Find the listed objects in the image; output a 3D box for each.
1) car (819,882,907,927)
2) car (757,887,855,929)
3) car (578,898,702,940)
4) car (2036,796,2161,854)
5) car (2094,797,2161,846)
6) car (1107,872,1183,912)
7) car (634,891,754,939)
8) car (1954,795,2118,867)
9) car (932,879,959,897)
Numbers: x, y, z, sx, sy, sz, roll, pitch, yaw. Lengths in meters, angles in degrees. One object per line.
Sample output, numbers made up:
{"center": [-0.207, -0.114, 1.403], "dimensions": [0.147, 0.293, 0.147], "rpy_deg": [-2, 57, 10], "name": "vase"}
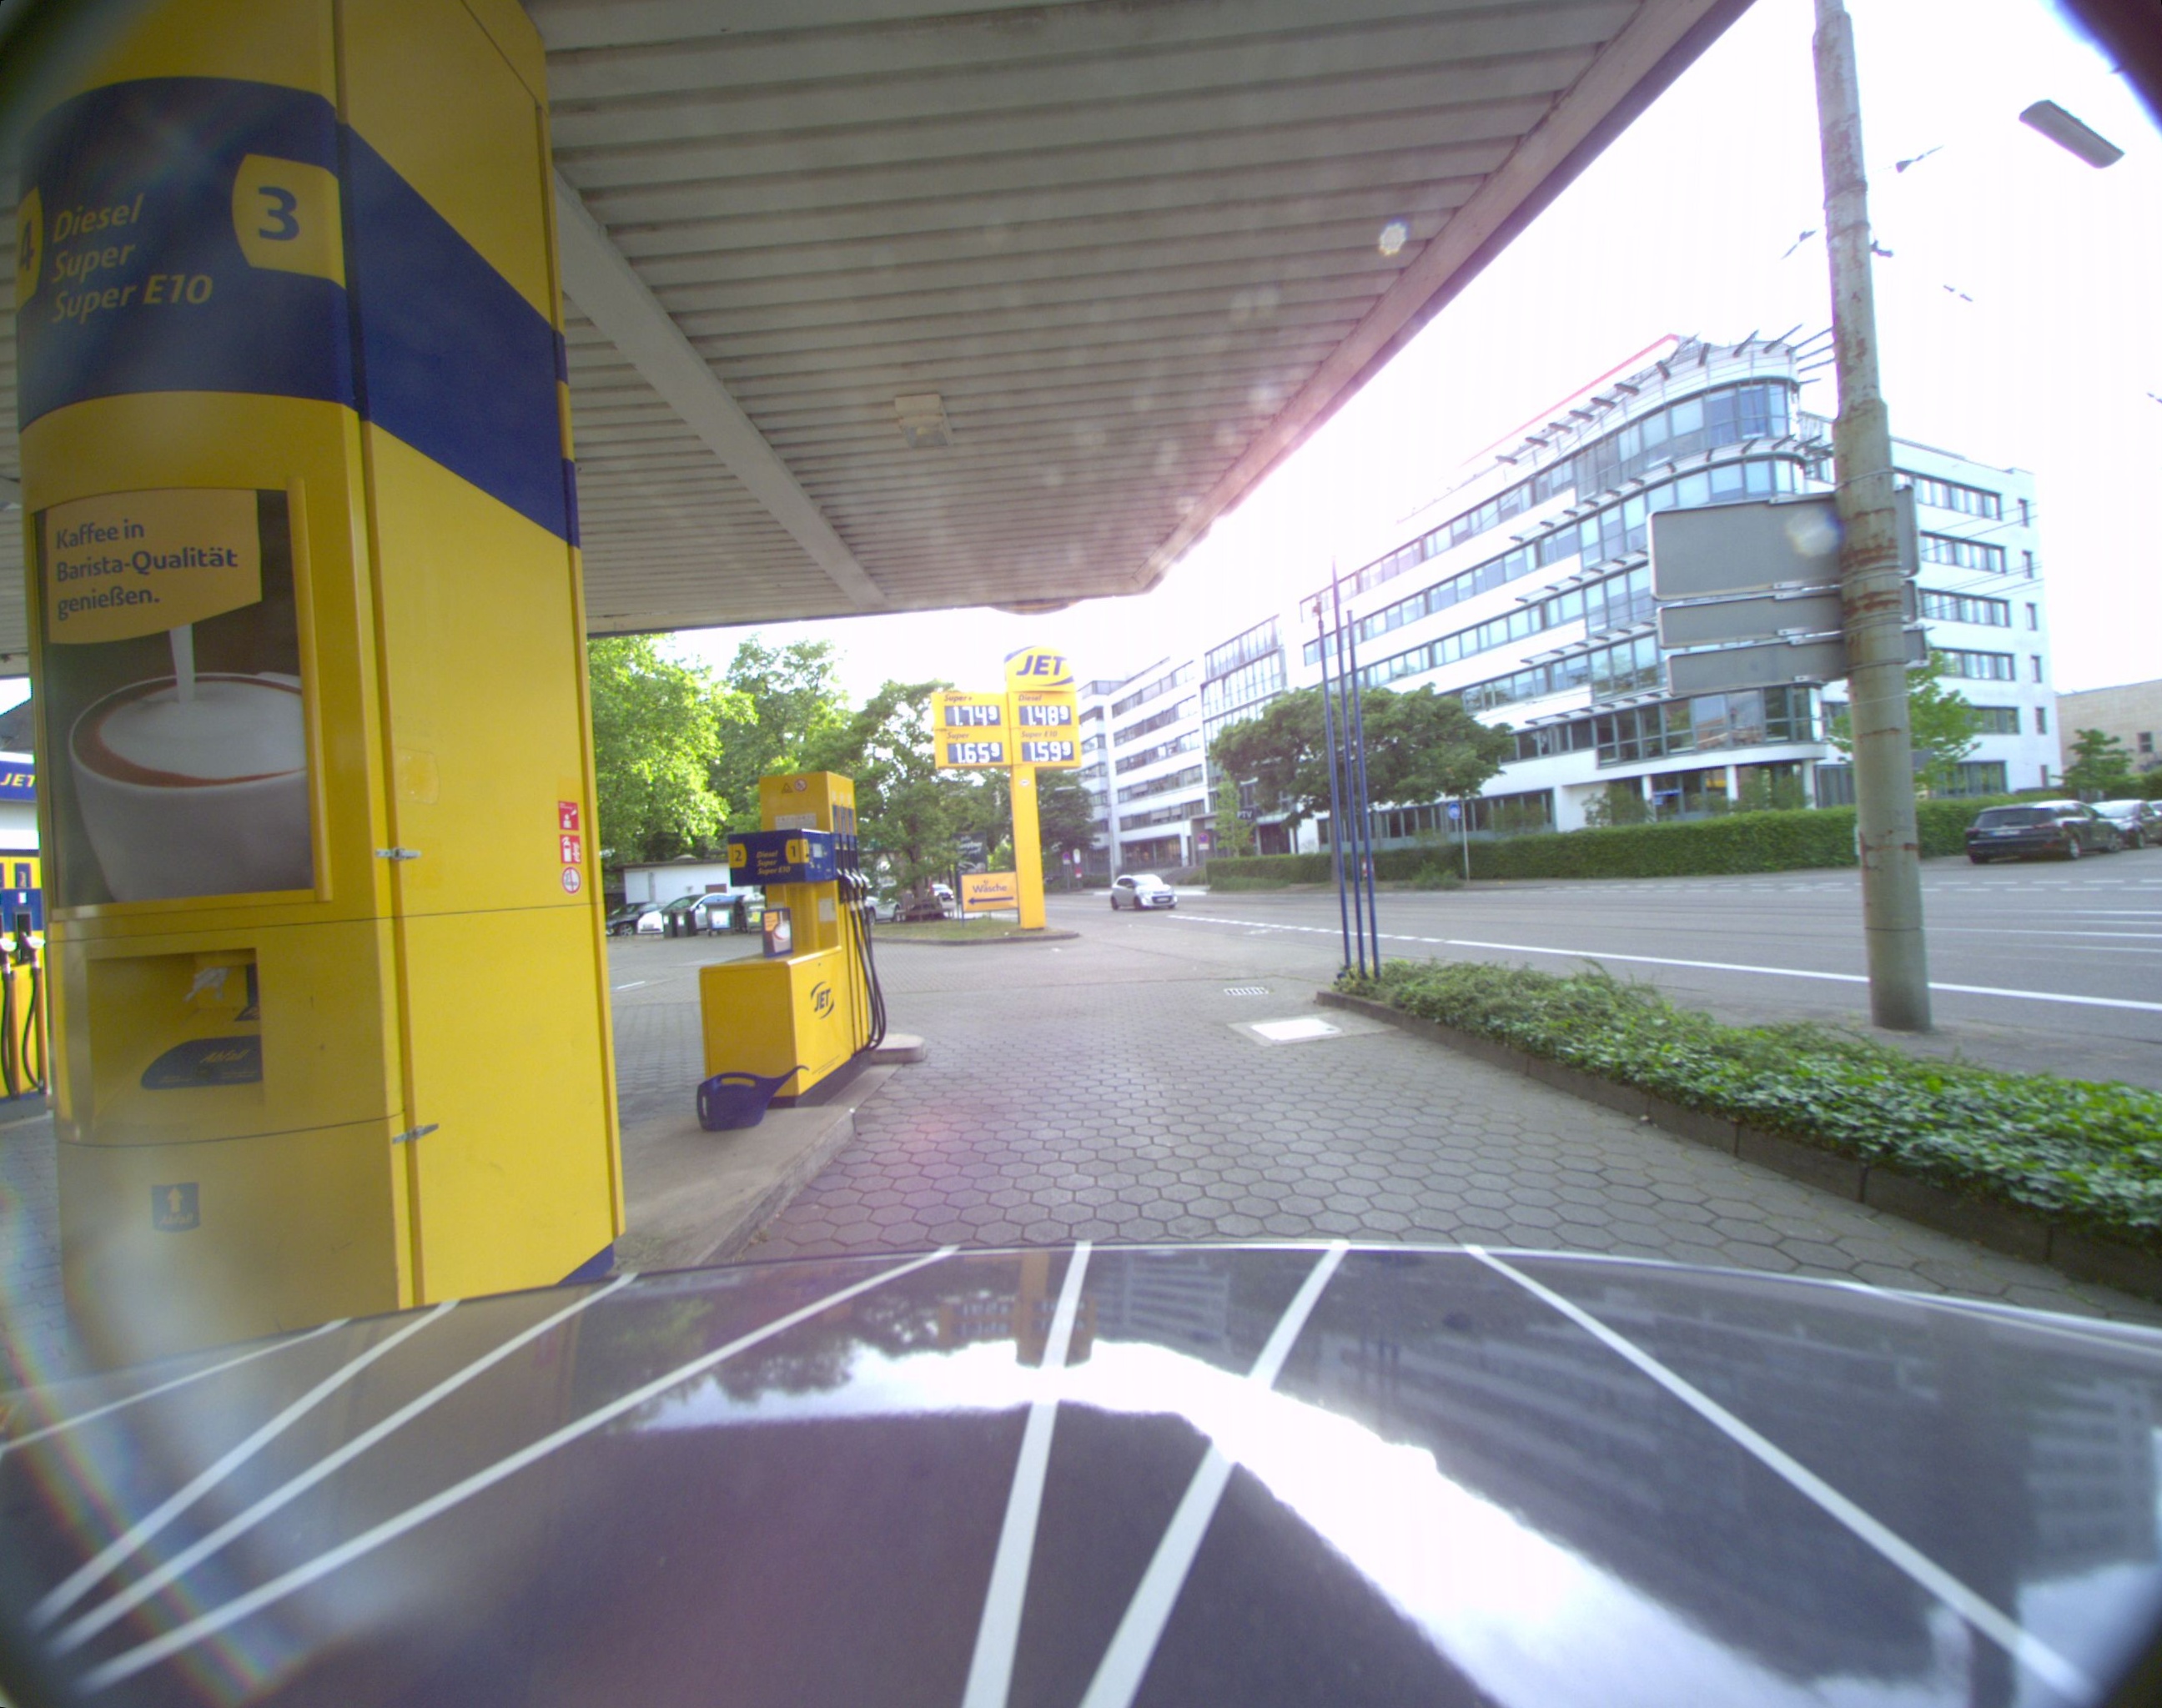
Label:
{"center": [-8.633, 2.006, 30.507], "dimensions": [1.772, 1.591, 4.398], "rpy_deg": [-4, -4, 6], "name": "car"}
{"center": [-11.651, 2.271, 32.498], "dimensions": [1.771, 1.591, 4.400], "rpy_deg": [-4, -4, 13], "name": "car"}
{"center": [-17.791, 2.595, 30.913], "dimensions": [1.771, 1.367, 4.398], "rpy_deg": [-2, -1, 14], "name": "car"}
{"center": [32.548, -0.937, 24.097], "dimensions": [4.296, 1.530, 1.945], "rpy_deg": [-4, -1, -27], "name": "car"}
{"center": [37.131, -1.193, 26.149], "dimensions": [4.296, 1.509, 1.945], "rpy_deg": [-4, -1, -27], "name": "car"}
{"center": [2.576, 1.569, 31.369], "dimensions": [1.691, 1.424, 3.422], "rpy_deg": [-4, -1, -21], "name": "car"}
{"center": [-15.289, 2.369, 30.319], "dimensions": [1.771, 1.591, 4.398], "rpy_deg": [-2, -1, 14], "name": "car"}
{"center": [27.277, -0.660, 21.695], "dimensions": [4.296, 1.681, 2.010], "rpy_deg": [-4, -1, -27], "name": "car"}
{"center": [-12.115, 3.040, 67.895], "dimensions": [1.691, 1.463, 3.806], "rpy_deg": [-3, -1, -20], "name": "car"}
